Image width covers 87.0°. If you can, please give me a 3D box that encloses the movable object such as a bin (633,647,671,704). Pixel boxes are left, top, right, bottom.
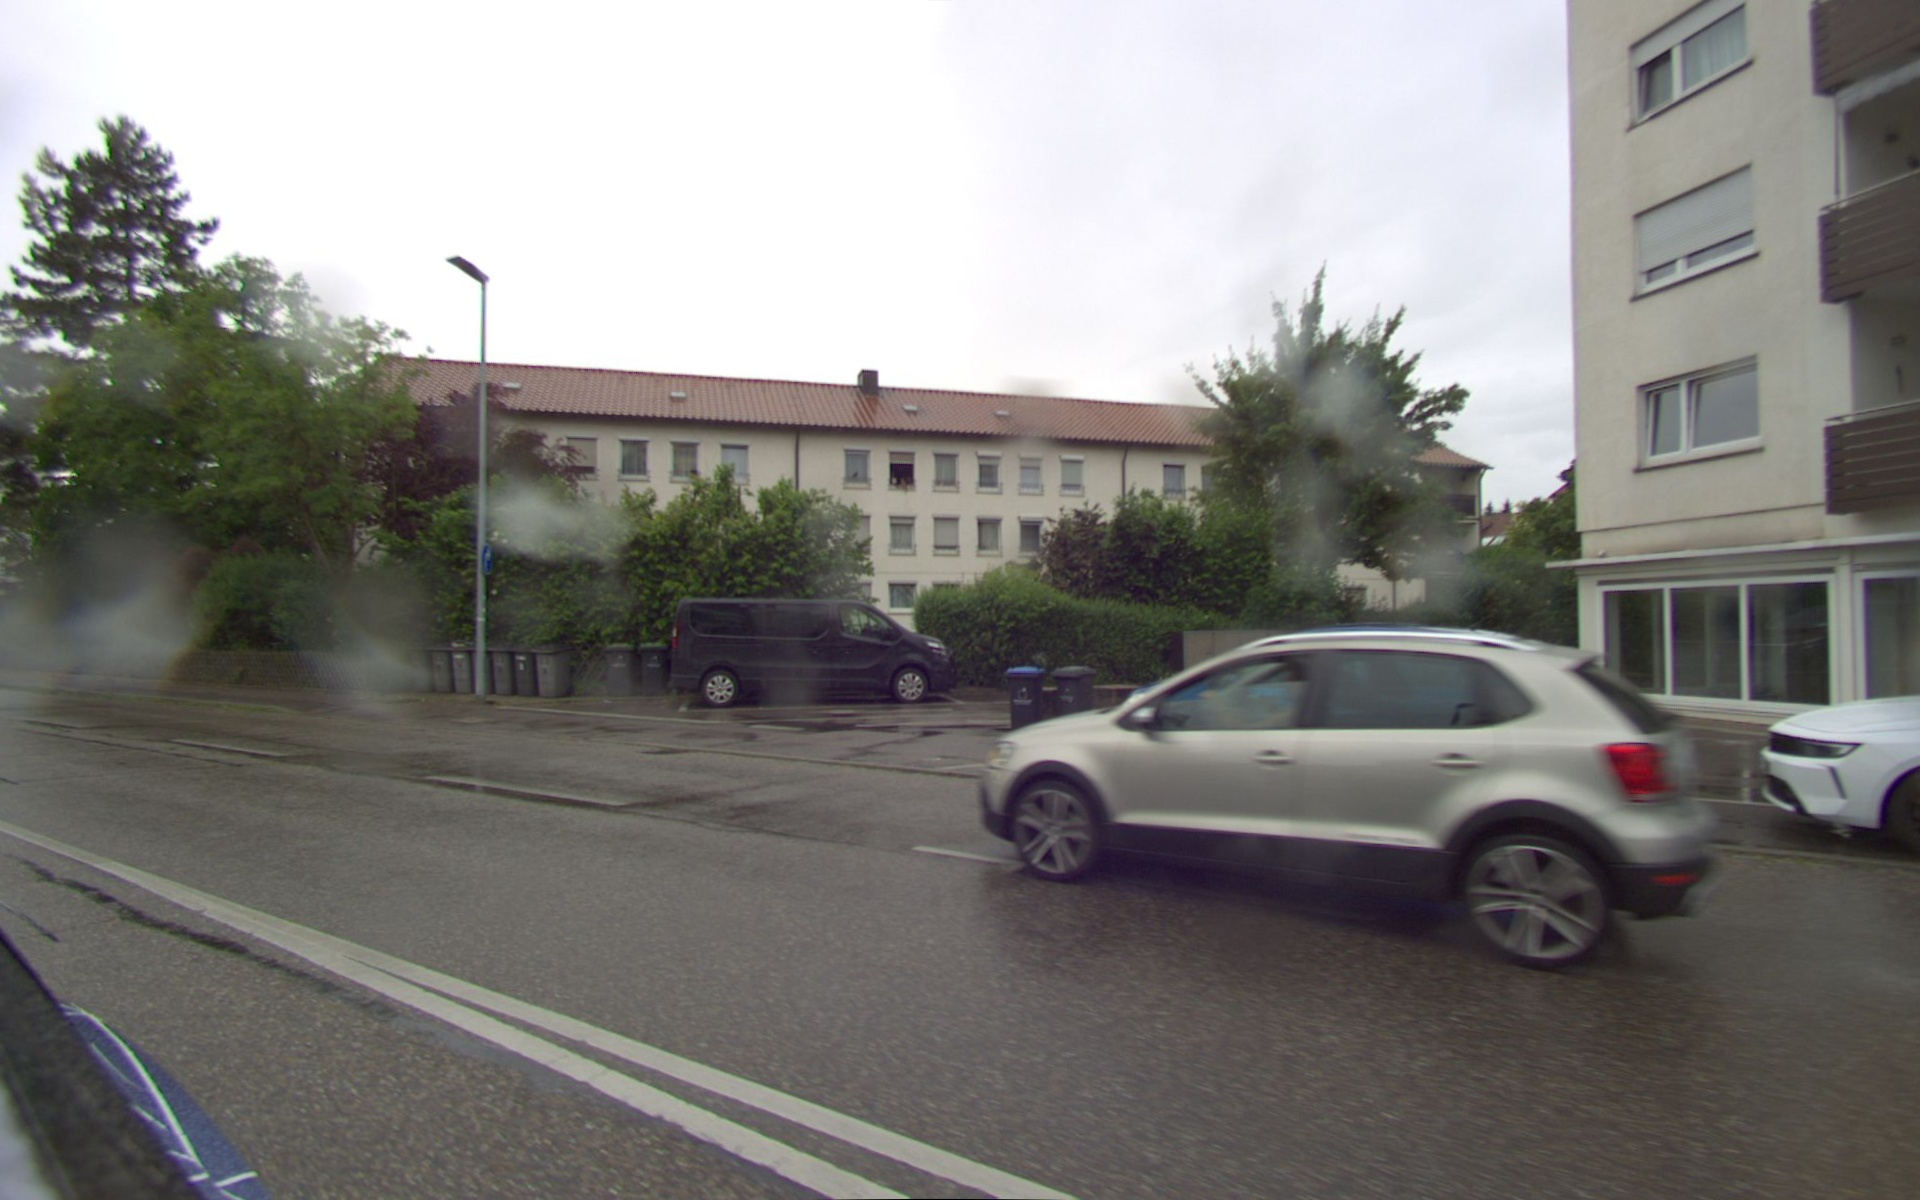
[{"bbox_3d":[-6.170,1.503,20.299,0.592,1.127,0.601,0,-2,-3],"label":"movable object such as a bin"}]

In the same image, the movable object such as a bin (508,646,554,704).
[{"bbox_3d":[-8.672,1.506,20.457,0.597,1.127,0.597,-1,-2,20],"label":"movable object such as a bin"}]

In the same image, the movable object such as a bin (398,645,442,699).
[{"bbox_3d":[-11.546,1.531,21.649,0.598,1.127,0.595,-1,-2,30],"label":"movable object such as a bin"}]

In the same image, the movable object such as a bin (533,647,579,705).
[{"bbox_3d":[-8.084,1.513,20.251,0.597,1.127,0.597,-1,-2,20],"label":"movable object such as a bin"}]

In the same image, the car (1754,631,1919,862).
[{"bbox_3d":[8.042,0.929,6.323,4.671,1.475,1.679,-2,-2,34],"label":"car"}]

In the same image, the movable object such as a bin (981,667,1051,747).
[{"bbox_3d":[0.735,1.379,13.199,0.680,0.973,0.642,-2,-3,33],"label":"movable object such as a bin"}]

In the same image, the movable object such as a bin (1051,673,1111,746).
[{"bbox_3d":[1.604,1.427,13.346,0.596,0.910,0.569,-2,-3,33],"label":"movable object such as a bin"}]

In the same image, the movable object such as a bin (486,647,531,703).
[{"bbox_3d":[-9.234,1.526,20.704,0.597,1.127,0.597,-1,-2,20],"label":"movable object such as a bin"}]

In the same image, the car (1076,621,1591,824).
[{"bbox_3d":[3.400,0.995,9.558,4.311,1.532,1.638,-2,-2,33],"label":"car"}]

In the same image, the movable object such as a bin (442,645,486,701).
[{"bbox_3d":[-10.372,1.514,21.179,0.599,1.127,0.595,-2,-2,30],"label":"movable object such as a bin"}]

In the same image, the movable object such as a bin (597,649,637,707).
[{"bbox_3d":[-6.789,1.535,20.047,0.592,1.127,0.601,0,-2,-3],"label":"movable object such as a bin"}]

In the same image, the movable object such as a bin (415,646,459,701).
[{"bbox_3d":[-11.014,1.535,21.326,0.598,1.127,0.595,-1,-2,30],"label":"movable object such as a bin"}]

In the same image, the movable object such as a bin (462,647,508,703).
[{"bbox_3d":[-9.813,1.530,20.914,0.597,1.127,0.597,-1,-2,20],"label":"movable object such as a bin"}]

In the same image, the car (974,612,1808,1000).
[{"bbox_3d":[2.153,0.892,5.700,3.833,1.450,1.808,-3,-5,36],"label":"car"}]

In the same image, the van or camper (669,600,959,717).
[{"bbox_3d":[-2.770,1.077,19.216,5.132,1.939,2.004,-1,-3,-11],"label":"van or camper"}]
